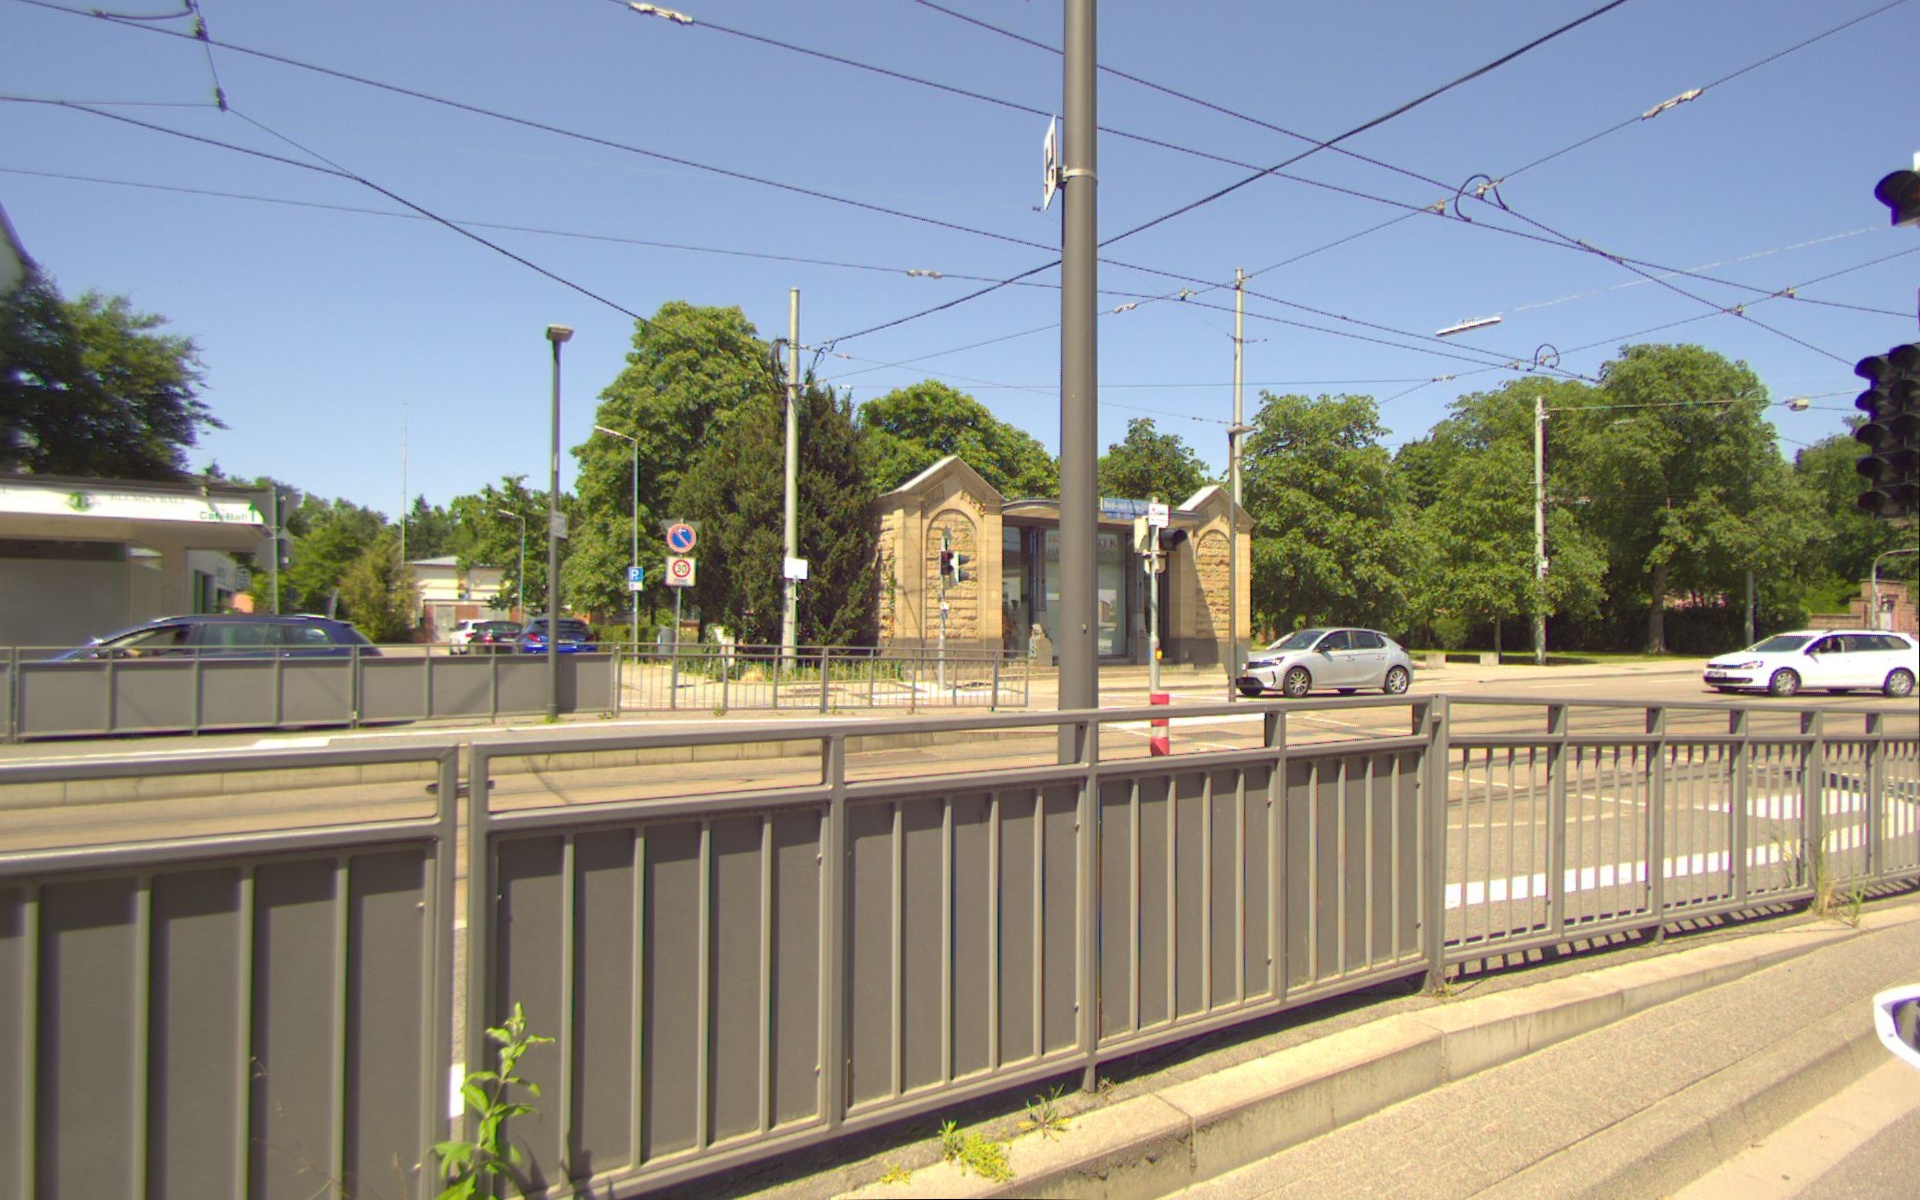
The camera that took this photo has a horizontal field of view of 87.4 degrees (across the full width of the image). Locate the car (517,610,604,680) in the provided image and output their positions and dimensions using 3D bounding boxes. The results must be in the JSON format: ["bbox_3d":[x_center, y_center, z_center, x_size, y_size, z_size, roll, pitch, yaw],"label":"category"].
[{"bbox_3d":[-9.926,1.036,24.807,1.799,1.472,3.934,1,1,-25],"label":"car"}]

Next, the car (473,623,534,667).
[{"bbox_3d":[-15.494,1.525,34.006,1.624,1.388,3.785,1,-3,-29],"label":"car"}]

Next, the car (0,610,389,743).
[{"bbox_3d":[-9.720,0.882,12.602,4.426,1.461,1.848,1,-1,-30],"label":"car"}]

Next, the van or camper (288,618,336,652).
[{"bbox_3d":[-32.116,1.698,49.738,1.676,1.587,3.784,1,-2,-38],"label":"van or camper"}]

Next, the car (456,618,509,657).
[{"bbox_3d":[-18.808,1.484,39.467,1.625,1.465,3.784,1,-3,-29],"label":"car"}]

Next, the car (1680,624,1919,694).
[{"bbox_3d":[19.353,1.319,22.994,4.410,1.509,1.824,0,-1,1],"label":"car"}]

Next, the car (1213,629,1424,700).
[{"bbox_3d":[7.550,1.306,21.201,3.989,1.381,1.816,1,-1,-20],"label":"car"}]
